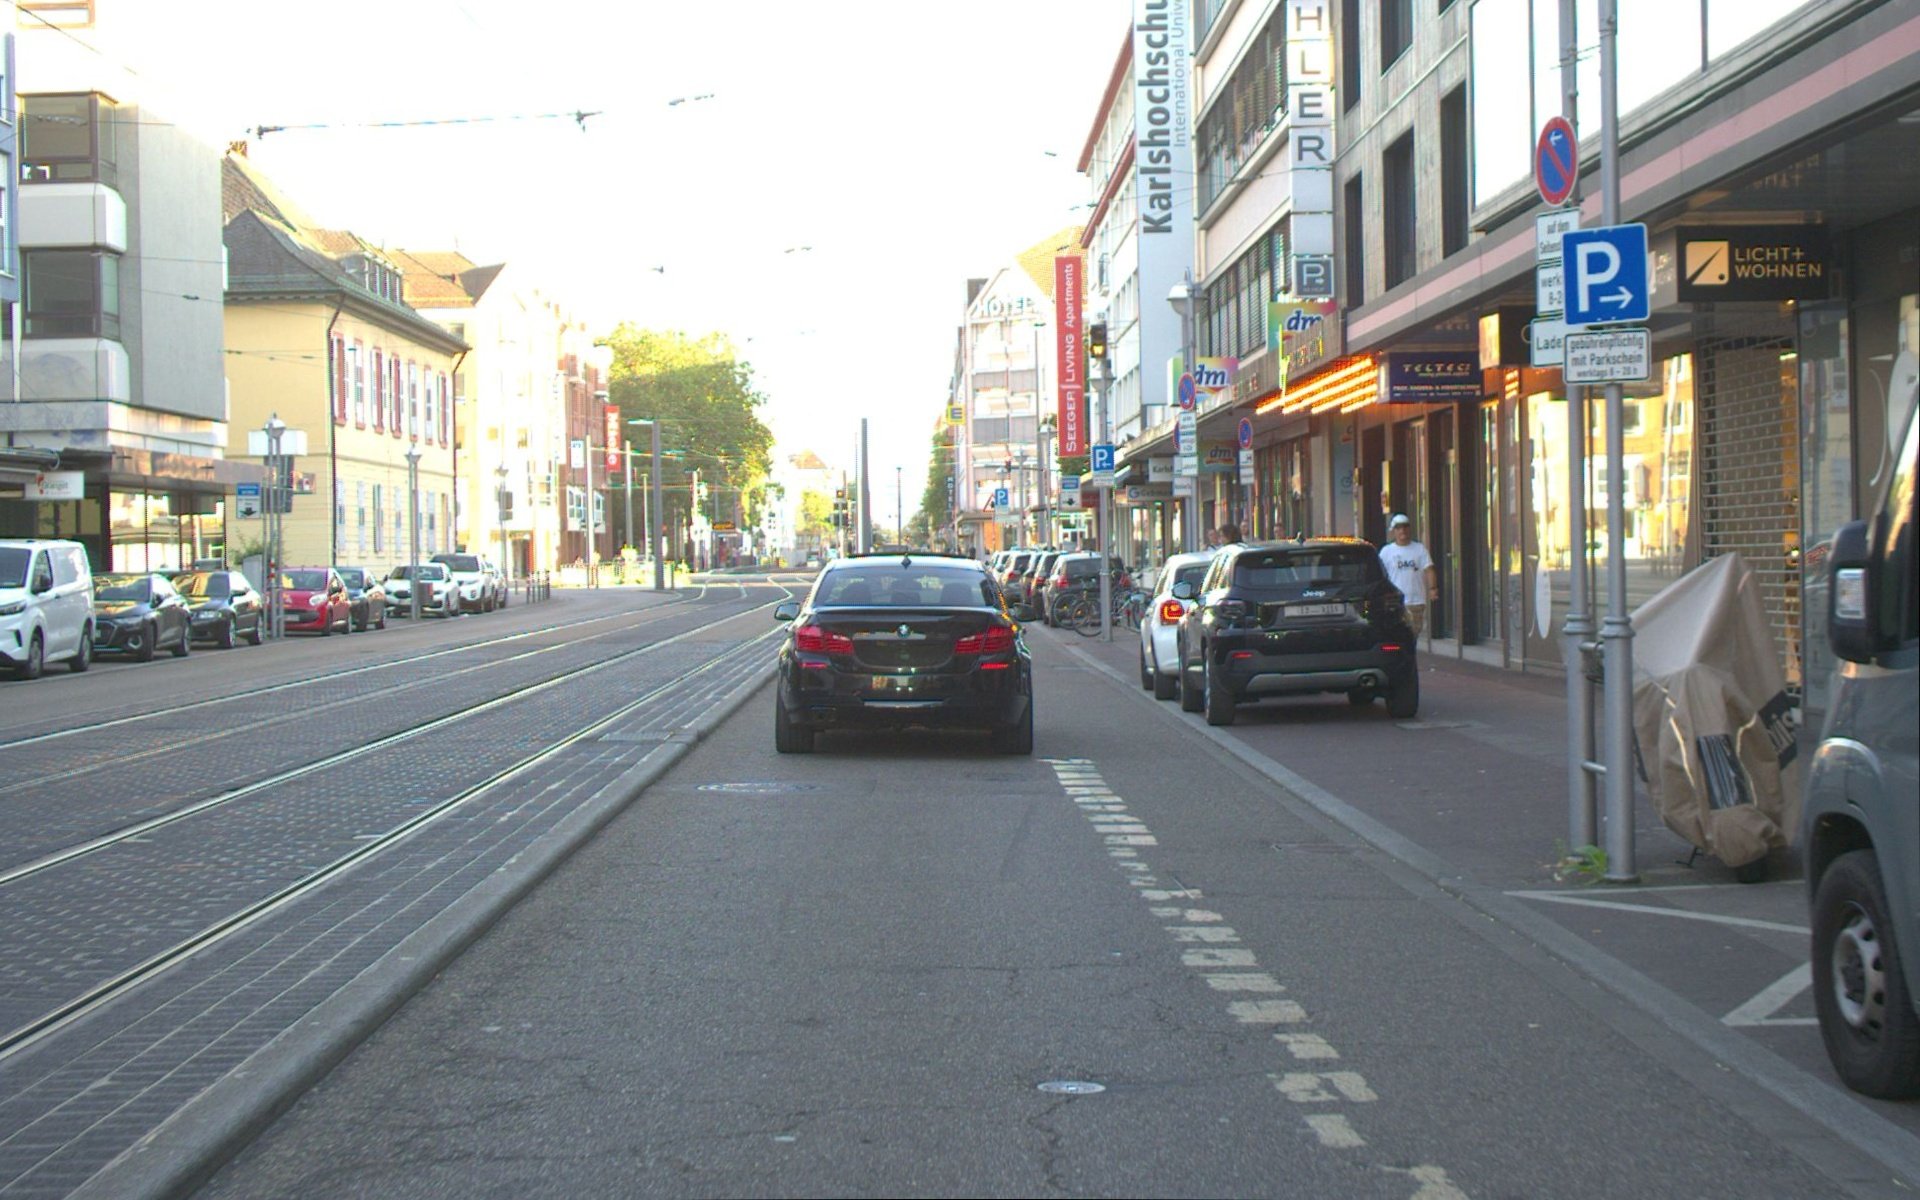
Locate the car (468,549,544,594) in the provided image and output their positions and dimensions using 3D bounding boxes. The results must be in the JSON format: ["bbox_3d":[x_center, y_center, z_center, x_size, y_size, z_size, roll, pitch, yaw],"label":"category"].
[{"bbox_3d":[-14.828,-0.953,112.435,1.928,1.430,4.246,0,1,0],"label":"car"}]

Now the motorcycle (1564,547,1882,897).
[{"bbox_3d":[3.366,0.493,15.386,0.844,1.414,2.165,-3,1,-1],"label":"motorcycle"}]

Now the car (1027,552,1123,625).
[{"bbox_3d":[2.475,-0.242,74.867,1.903,1.543,3.780,0,0,-1],"label":"car"}]

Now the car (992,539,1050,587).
[{"bbox_3d":[1.951,-1.186,111.107,1.774,1.543,3.503,0,0,-1],"label":"car"}]

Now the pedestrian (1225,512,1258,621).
[{"bbox_3d":[4.649,-0.552,56.767,0.488,1.784,0.760,-1,1,3],"label":"pedestrian"}]

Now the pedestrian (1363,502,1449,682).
[{"bbox_3d":[4.405,-0.084,33.990,0.689,1.734,0.820,-3,1,1],"label":"pedestrian"}]

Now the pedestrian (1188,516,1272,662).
[{"bbox_3d":[3.083,-0.126,39.292,0.557,1.641,0.759,-2,1,-38],"label":"pedestrian"}]

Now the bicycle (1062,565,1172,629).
[{"bbox_3d":[2.692,-0.055,58.999,1.861,1.076,0.468,0,0,1],"label":"bicycle"}]

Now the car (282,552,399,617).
[{"bbox_3d":[-14.124,-0.368,78.607,1.928,1.430,4.246,0,1,0],"label":"car"}]

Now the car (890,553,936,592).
[{"bbox_3d":[-1.855,-1.081,135.804,1.774,1.543,3.503,0,0,-1],"label":"car"}]

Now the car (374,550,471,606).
[{"bbox_3d":[-14.363,-0.605,92.008,1.928,1.430,4.246,-1,1,0],"label":"car"}]

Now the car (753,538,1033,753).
[{"bbox_3d":[-0.437,0.302,26.381,1.953,1.493,4.465,-1,1,1],"label":"car"}]

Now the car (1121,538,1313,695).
[{"bbox_3d":[2.586,0.125,35.236,1.559,1.437,3.709,-3,1,-1],"label":"car"}]

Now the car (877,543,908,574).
[{"bbox_3d":[-4.317,-2.659,220.566,1.993,1.832,4.000,0,-2,-1],"label":"car"}]

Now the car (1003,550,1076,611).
[{"bbox_3d":[2.053,-0.500,89.702,1.774,1.543,3.503,0,0,-1],"label":"car"}]

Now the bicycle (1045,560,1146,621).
[{"bbox_3d":[2.548,-0.176,64.731,1.861,1.115,0.468,0,0,1],"label":"bicycle"}]

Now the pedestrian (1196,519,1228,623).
[{"bbox_3d":[4.163,-0.487,56.794,0.475,1.693,0.752,-1,1,3],"label":"pedestrian"}]

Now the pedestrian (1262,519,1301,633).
[{"bbox_3d":[5.089,-0.387,54.419,0.508,1.786,0.760,-1,1,0],"label":"pedestrian"}]

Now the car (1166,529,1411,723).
[{"bbox_3d":[2.796,0.179,30.012,1.654,1.532,3.886,-2,1,-1],"label":"car"}]

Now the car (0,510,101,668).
[{"bbox_3d":[-13.809,-0.181,49.241,1.993,2.149,4.911,-1,1,-3],"label":"car"}]

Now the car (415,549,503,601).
[{"bbox_3d":[-14.273,-0.726,98.088,1.928,1.430,4.246,0,1,0],"label":"car"}]

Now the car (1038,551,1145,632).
[{"bbox_3d":[2.576,-0.182,68.126,1.903,1.543,4.000,0,0,-1],"label":"car"}]

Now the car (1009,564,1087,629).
[{"bbox_3d":[2.136,-0.090,84.055,1.774,1.543,3.503,0,0,-1],"label":"car"}]

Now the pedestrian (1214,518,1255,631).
[{"bbox_3d":[4.371,-0.410,54.749,0.554,1.785,0.760,-1,1,-1],"label":"pedestrian"}]

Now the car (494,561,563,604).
[{"bbox_3d":[-15.165,-0.624,121.022,1.928,1.430,4.246,0,1,0],"label":"car"}]

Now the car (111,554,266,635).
[{"bbox_3d":[-14.229,-0.130,63.613,1.928,1.430,4.246,0,1,0],"label":"car"}]

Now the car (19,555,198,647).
[{"bbox_3d":[-13.987,-0.015,56.685,1.928,1.430,4.246,0,1,0],"label":"car"}]

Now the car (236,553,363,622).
[{"bbox_3d":[-14.098,-0.289,73.600,1.928,1.430,4.246,0,1,0],"label":"car"}]

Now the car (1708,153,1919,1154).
[{"bbox_3d":[3.381,0.124,7.517,2.033,2.447,5.410,-3,1,-2],"label":"car"}]
